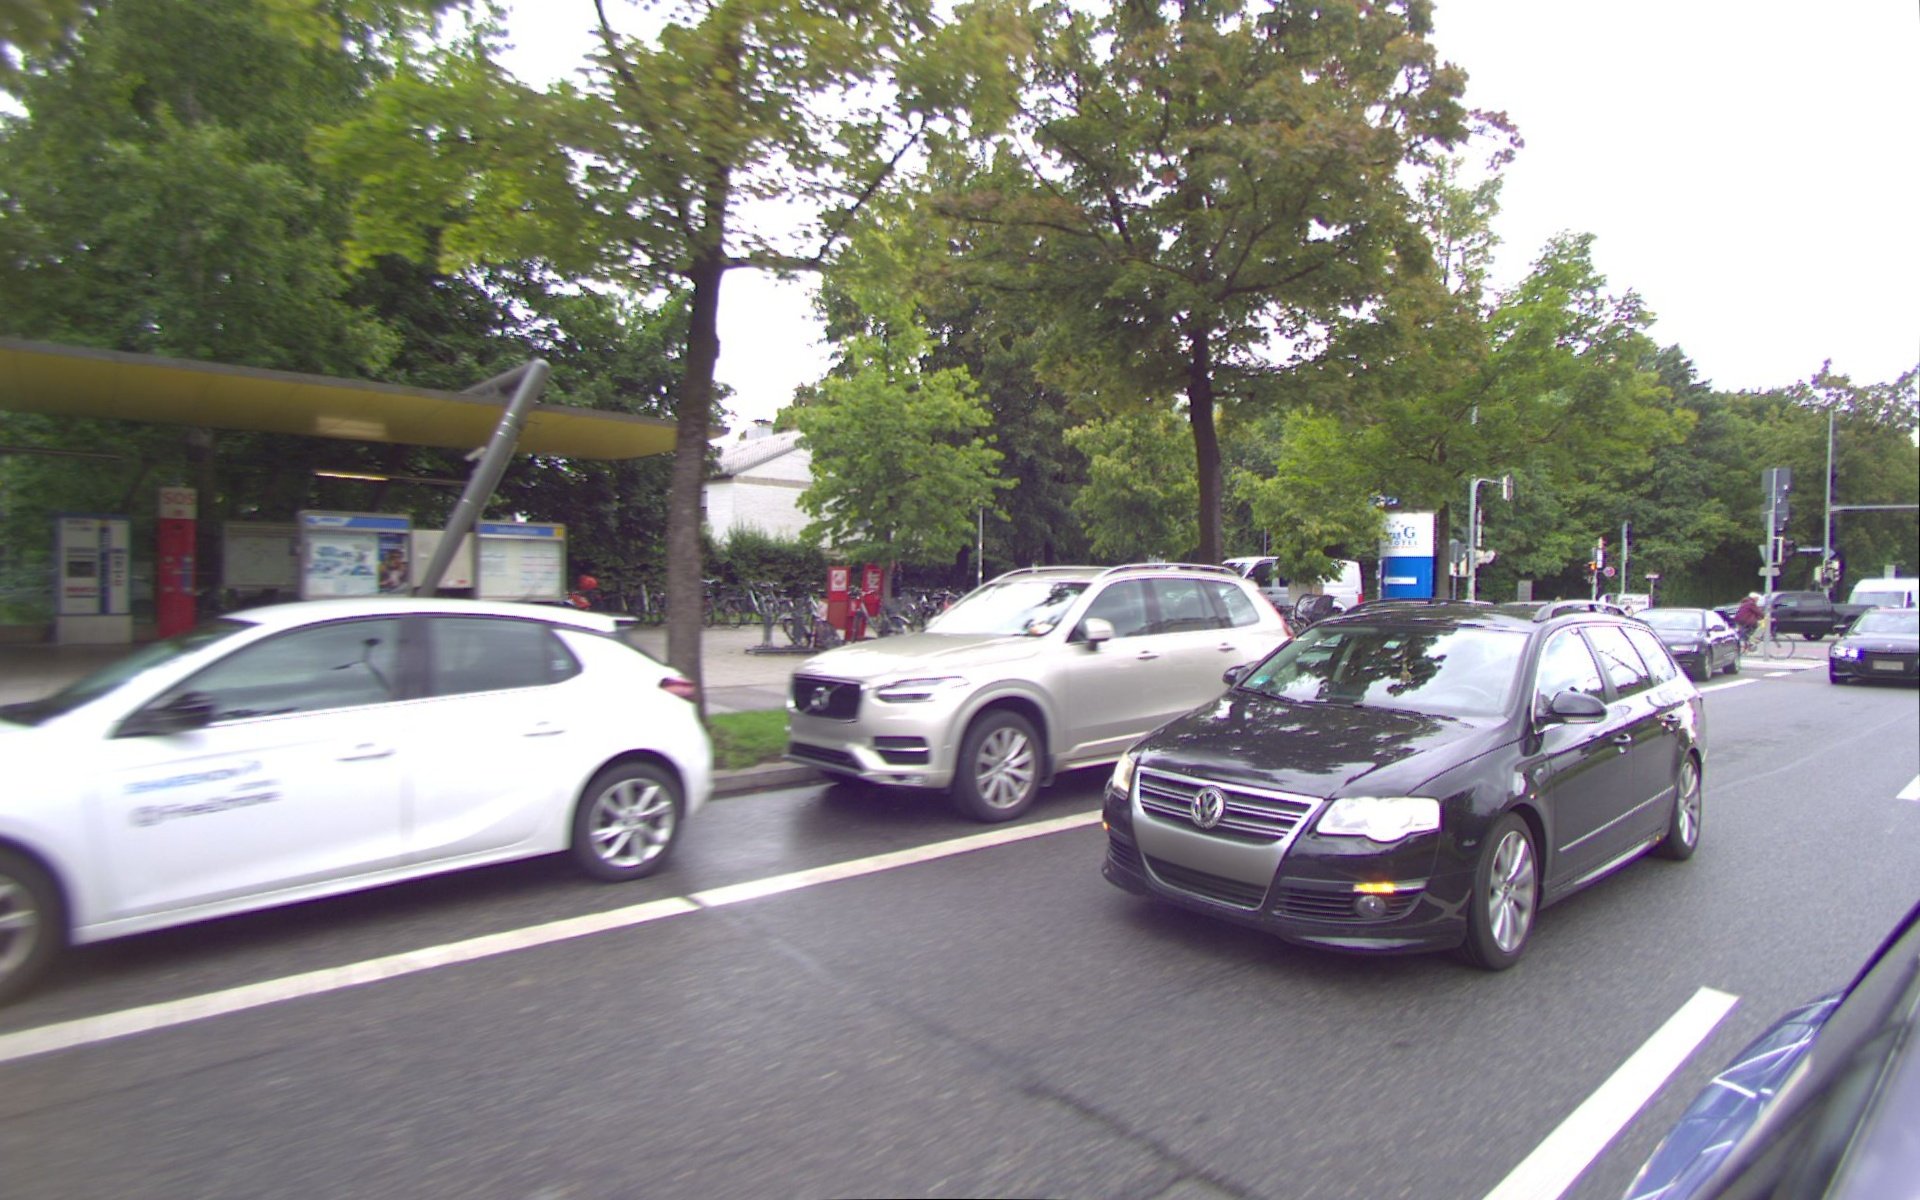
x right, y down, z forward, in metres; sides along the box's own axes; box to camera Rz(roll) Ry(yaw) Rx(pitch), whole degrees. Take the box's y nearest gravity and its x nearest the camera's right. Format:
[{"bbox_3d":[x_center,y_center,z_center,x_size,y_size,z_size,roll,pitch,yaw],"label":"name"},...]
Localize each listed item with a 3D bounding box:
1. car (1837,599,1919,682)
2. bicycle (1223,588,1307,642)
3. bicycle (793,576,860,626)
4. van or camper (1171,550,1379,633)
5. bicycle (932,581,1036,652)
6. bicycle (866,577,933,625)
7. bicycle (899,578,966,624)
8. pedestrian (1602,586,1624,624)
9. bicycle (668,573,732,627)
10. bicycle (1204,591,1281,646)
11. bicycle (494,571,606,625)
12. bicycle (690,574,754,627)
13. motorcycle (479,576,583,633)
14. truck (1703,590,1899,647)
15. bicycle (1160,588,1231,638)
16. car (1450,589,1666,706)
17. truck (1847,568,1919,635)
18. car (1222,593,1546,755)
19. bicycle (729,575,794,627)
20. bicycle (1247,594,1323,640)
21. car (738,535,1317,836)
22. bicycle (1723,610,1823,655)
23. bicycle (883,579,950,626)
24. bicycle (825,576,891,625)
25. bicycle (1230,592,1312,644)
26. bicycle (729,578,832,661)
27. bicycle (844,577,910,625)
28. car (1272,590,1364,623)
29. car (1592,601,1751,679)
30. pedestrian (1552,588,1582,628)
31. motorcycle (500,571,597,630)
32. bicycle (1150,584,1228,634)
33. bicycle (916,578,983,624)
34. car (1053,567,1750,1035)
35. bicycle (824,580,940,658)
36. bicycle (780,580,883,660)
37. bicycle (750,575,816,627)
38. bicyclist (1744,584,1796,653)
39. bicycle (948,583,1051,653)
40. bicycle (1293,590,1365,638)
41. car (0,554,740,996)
[{"bbox_3d":[18.418,0.720,19.384,4.589,1.447,1.818,0,0,-41],"label":"car"},{"bbox_3d":[7.695,0.360,25.565,1.936,1.227,0.559,4,3,39],"label":"bicycle"},{"bbox_3d":[-3.565,0.002,26.833,0.520,1.171,2.344,1,3,-40],"label":"bicycle"},{"bbox_3d":[9.607,-0.239,30.790,6.069,2.325,2.153,1,1,-23],"label":"van or camper"},{"bbox_3d":[0.414,0.288,19.380,0.520,1.171,2.344,1,3,-40],"label":"bicycle"},{"bbox_3d":[-1.728,0.005,28.420,0.520,1.171,2.344,1,3,-40],"label":"bicycle"},{"bbox_3d":[-0.818,0.006,29.134,0.520,1.171,2.344,1,3,-40],"label":"bicycle"},{"bbox_3d":[30.316,0.240,46.971,0.758,1.724,0.926,1,1,40],"label":"pedestrian"},{"bbox_3d":[-6.423,-0.026,24.933,0.520,1.171,2.344,1,3,-40],"label":"bicycle"},{"bbox_3d":[6.605,0.414,23.738,0.556,1.156,1.814,1,2,-31],"label":"bicycle"},{"bbox_3d":[-9.389,-0.036,23.239,2.303,1.171,0.529,1,3,-38],"label":"bicycle"},{"bbox_3d":[-5.989,-0.003,25.387,0.520,1.171,2.344,1,3,-40],"label":"bicycle"},{"bbox_3d":[-8.521,0.079,20.162,1.778,1.075,0.659,1,1,-2],"label":"motorcycle"},{"bbox_3d":[32.639,0.677,39.421,5.704,2.039,2.105,1,1,2],"label":"truck"},{"bbox_3d":[5.970,0.309,25.758,0.556,1.156,1.813,1,3,-35],"label":"bicycle"},{"bbox_3d":[9.471,0.639,15.888,4.306,1.567,1.715,0,1,-42],"label":"car"},{"bbox_3d":[39.631,0.039,42.376,7.088,2.636,2.000,0,0,-34],"label":"truck"},{"bbox_3d":[5.185,0.737,12.043,4.561,1.567,1.750,1,0,-41],"label":"car"},{"bbox_3d":[-5.087,-0.001,25.847,0.520,1.171,2.344,1,3,-40],"label":"bicycle"},{"bbox_3d":[8.502,0.431,26.507,1.803,1.084,0.559,4,3,39],"label":"bicycle"},{"bbox_3d":[0.805,0.505,8.140,4.819,1.746,1.750,1,0,-41],"label":"car"},{"bbox_3d":[21.564,0.845,26.884,1.919,1.094,0.744,1,1,14],"label":"bicycle"},{"bbox_3d":[-1.262,0.061,28.759,0.520,1.171,2.344,1,3,-40],"label":"bicycle"},{"bbox_3d":[-2.801,0.003,27.537,0.520,1.171,2.344,1,3,-40],"label":"bicycle"},{"bbox_3d":[7.606,0.415,24.788,1.803,1.156,0.559,4,3,39],"label":"bicycle"},{"bbox_3d":[-2.993,0.278,16.668,0.520,1.171,2.344,1,3,-40],"label":"bicycle"},{"bbox_3d":[-2.315,0.004,28.063,0.520,1.171,2.344,1,3,-40],"label":"bicycle"},{"bbox_3d":[17.502,0.298,49.515,3.935,1.472,1.603,2,1,42],"label":"car"},{"bbox_3d":[14.329,0.719,20.278,4.543,1.377,1.712,0,0,-43],"label":"car"},{"bbox_3d":[23.663,0.312,39.454,0.722,1.558,0.694,1,1,-21],"label":"pedestrian"},{"bbox_3d":[-8.543,0.005,21.075,1.775,1.192,0.660,1,1,-15],"label":"motorcycle"},{"bbox_3d":[6.090,0.215,26.951,1.936,1.227,0.559,4,3,39],"label":"bicycle"},{"bbox_3d":[-0.333,0.007,29.463,0.520,1.171,2.344,1,3,-40],"label":"bicycle"},{"bbox_3d":[2.687,0.629,5.445,4.592,1.493,1.749,0,1,-43],"label":"car"},{"bbox_3d":[-1.406,0.307,17.734,2.337,1.171,0.521,5,3,42],"label":"bicycle"},{"bbox_3d":[-2.234,0.305,17.326,0.520,1.171,2.344,1,3,-40],"label":"bicycle"},{"bbox_3d":[-4.607,0.000,26.181,0.520,1.171,2.344,1,3,-40],"label":"bicycle"},{"bbox_3d":[21.520,0.488,26.896,0.815,1.786,0.743,1,1,14],"label":"bicyclist"},{"bbox_3d":[0.742,0.328,19.829,0.520,1.171,2.344,1,3,-40],"label":"bicycle"},{"bbox_3d":[9.939,0.370,27.253,1.962,1.213,0.864,0,2,-37],"label":"bicycle"},{"bbox_3d":[-3.385,0.616,4.639,4.429,1.527,1.703,0,-1,-44],"label":"car"}]
